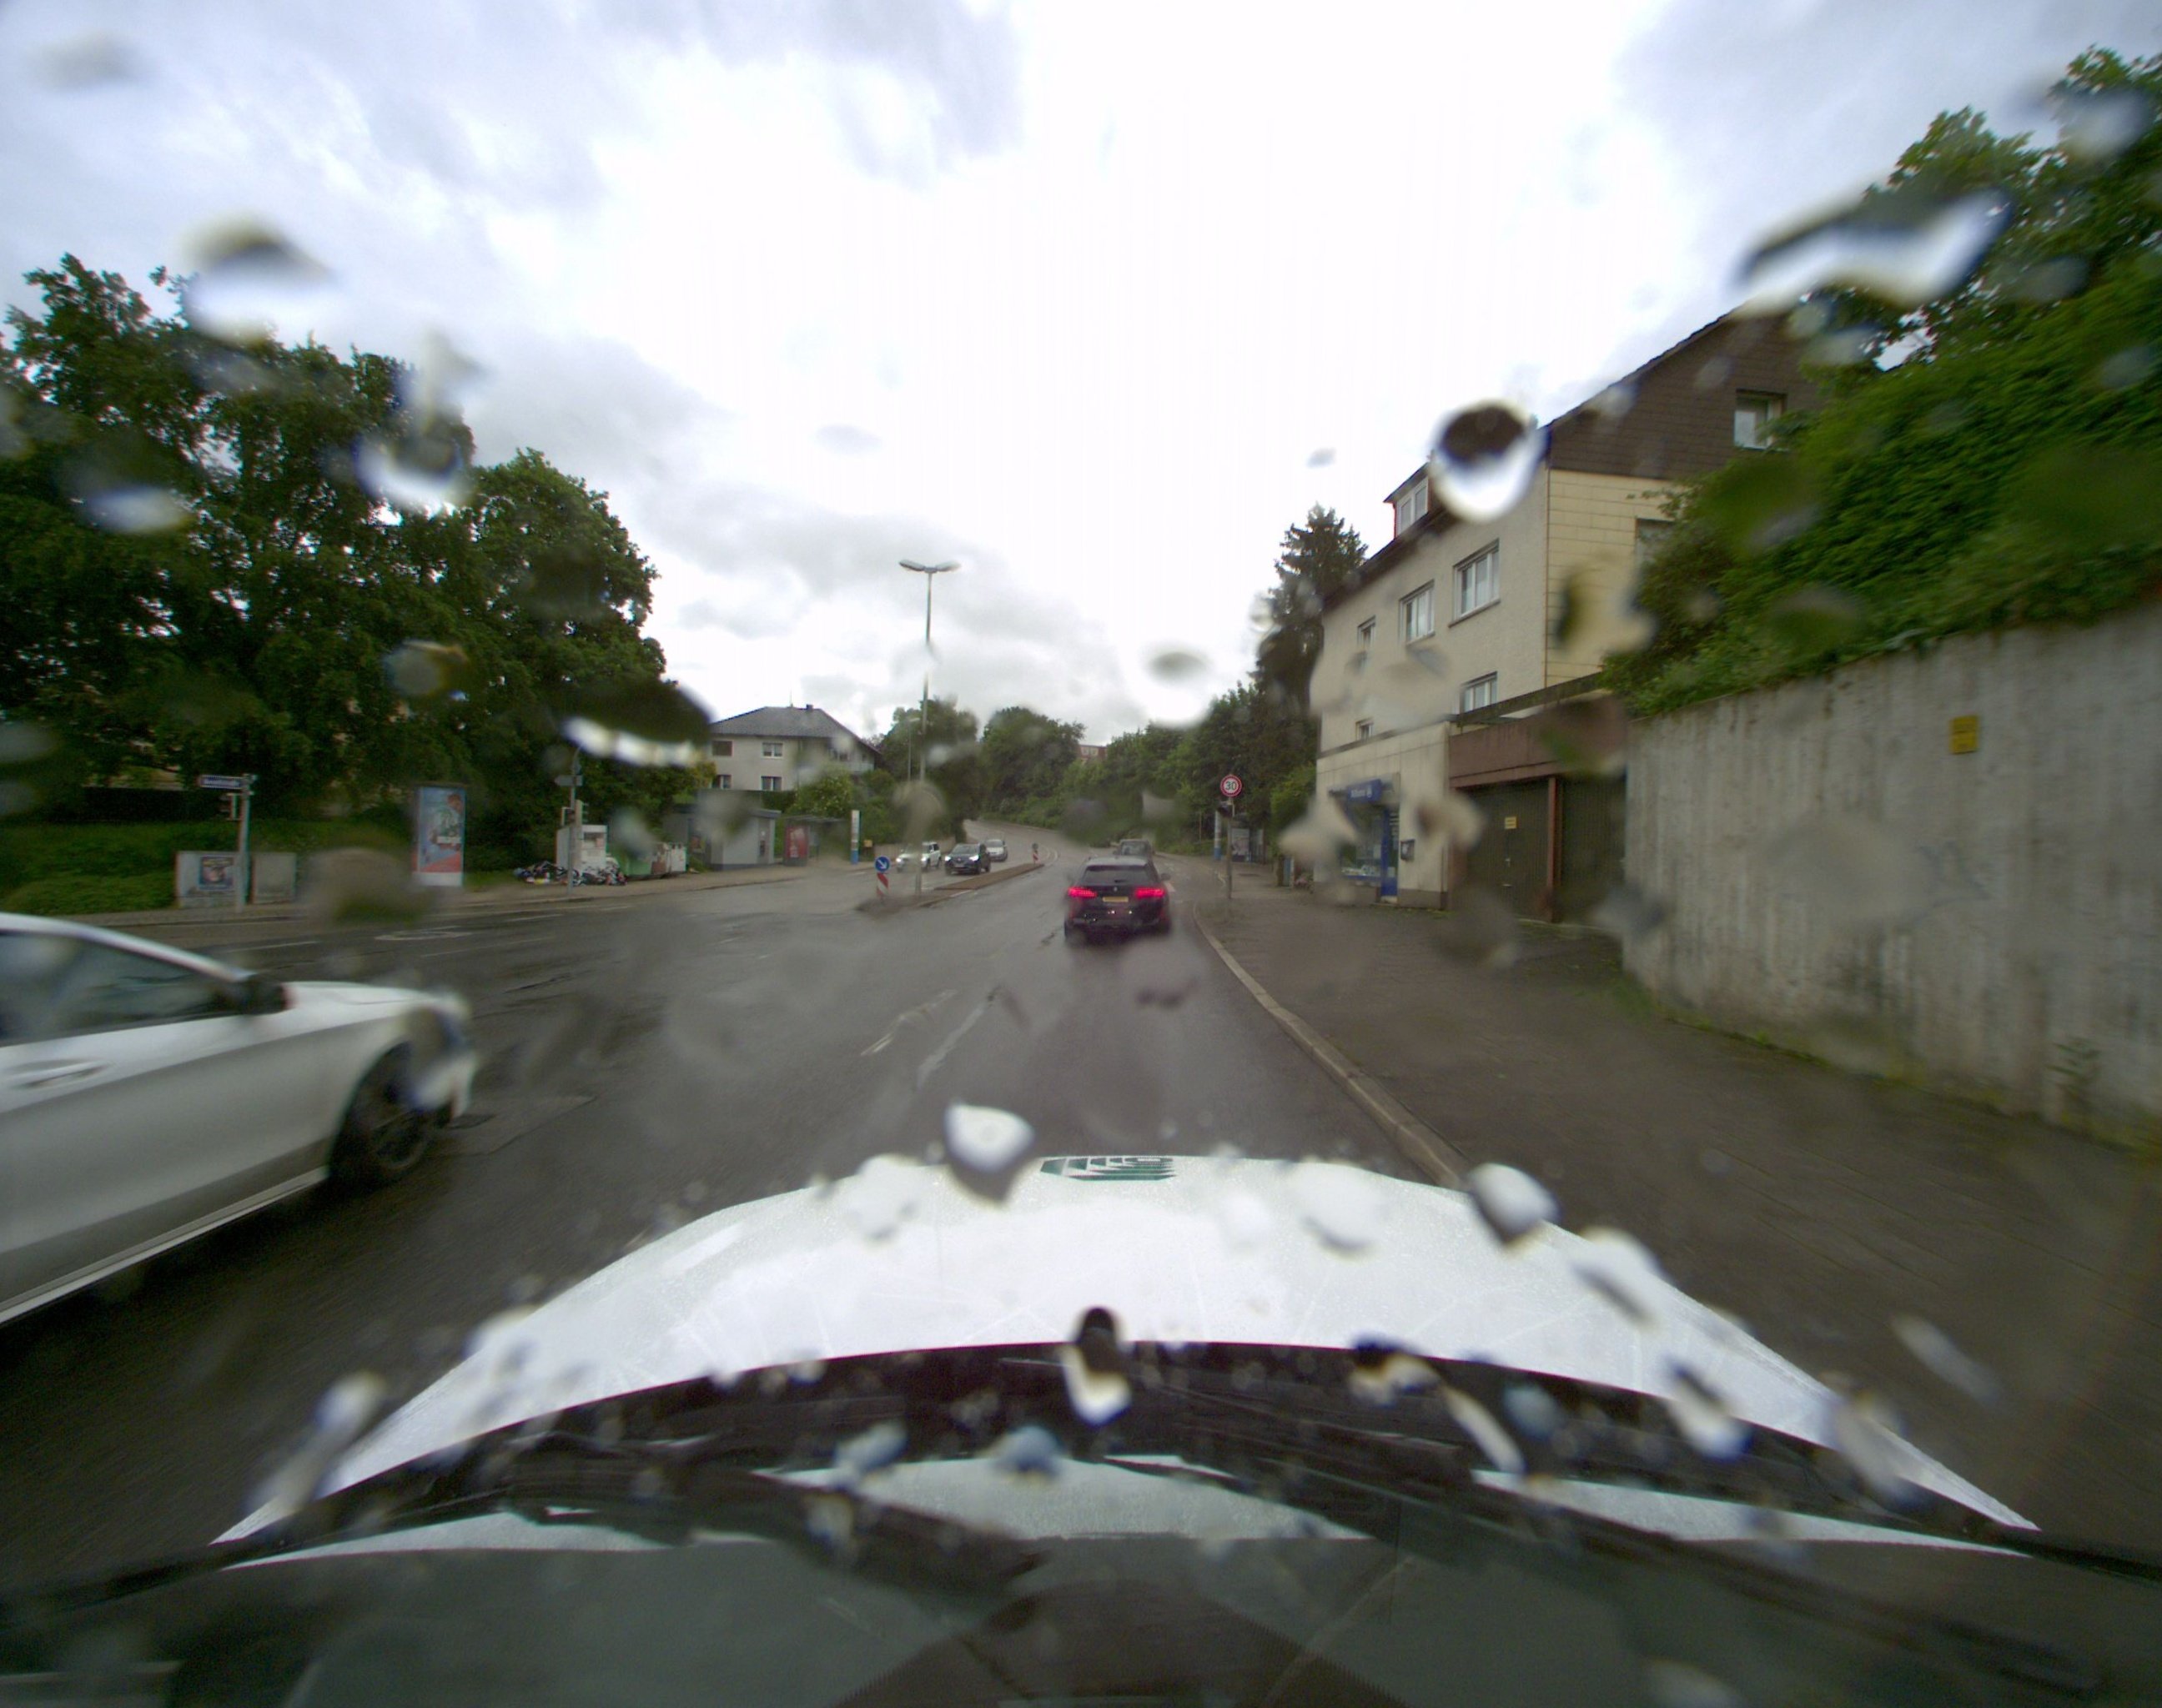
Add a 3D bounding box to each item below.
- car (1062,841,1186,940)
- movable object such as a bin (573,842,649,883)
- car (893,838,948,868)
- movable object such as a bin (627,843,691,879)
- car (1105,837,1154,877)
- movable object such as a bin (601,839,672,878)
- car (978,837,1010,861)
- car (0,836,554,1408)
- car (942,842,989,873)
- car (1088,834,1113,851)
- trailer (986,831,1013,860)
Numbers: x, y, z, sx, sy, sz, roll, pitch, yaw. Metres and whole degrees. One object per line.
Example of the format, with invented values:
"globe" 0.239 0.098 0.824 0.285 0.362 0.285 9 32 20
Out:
"car" 0.701 0.656 15.595 1.987 1.586 4.661 1 -2 0
"movable object such as a bin" -18.714 0.304 32.471 2.047 1.568 1.584 0 2 6
"car" -9.152 -0.061 46.803 1.814 1.657 4.474 0 0 6
"movable object such as a bin" -18.402 0.304 35.543 2.047 1.514 1.346 0 2 6
"car" 2.219 0.088 38.070 1.988 1.748 3.999 0 1 -1
"movable object such as a bin" -18.560 0.162 34.062 2.047 1.568 1.584 0 2 6
"car" -6.309 -0.392 59.684 1.893 1.682 4.479 0 2 0
"car" -3.869 0.716 2.428 1.905 1.528 4.642 0 0 -6
"car" -6.077 0.153 43.280 1.835 1.552 4.384 0 0 1
"car" 1.942 -1.152 82.220 1.851 1.661 3.987 1 1 -10
"trailer" -6.376 -0.683 64.000 1.891 2.179 4.033 0 0 -2
